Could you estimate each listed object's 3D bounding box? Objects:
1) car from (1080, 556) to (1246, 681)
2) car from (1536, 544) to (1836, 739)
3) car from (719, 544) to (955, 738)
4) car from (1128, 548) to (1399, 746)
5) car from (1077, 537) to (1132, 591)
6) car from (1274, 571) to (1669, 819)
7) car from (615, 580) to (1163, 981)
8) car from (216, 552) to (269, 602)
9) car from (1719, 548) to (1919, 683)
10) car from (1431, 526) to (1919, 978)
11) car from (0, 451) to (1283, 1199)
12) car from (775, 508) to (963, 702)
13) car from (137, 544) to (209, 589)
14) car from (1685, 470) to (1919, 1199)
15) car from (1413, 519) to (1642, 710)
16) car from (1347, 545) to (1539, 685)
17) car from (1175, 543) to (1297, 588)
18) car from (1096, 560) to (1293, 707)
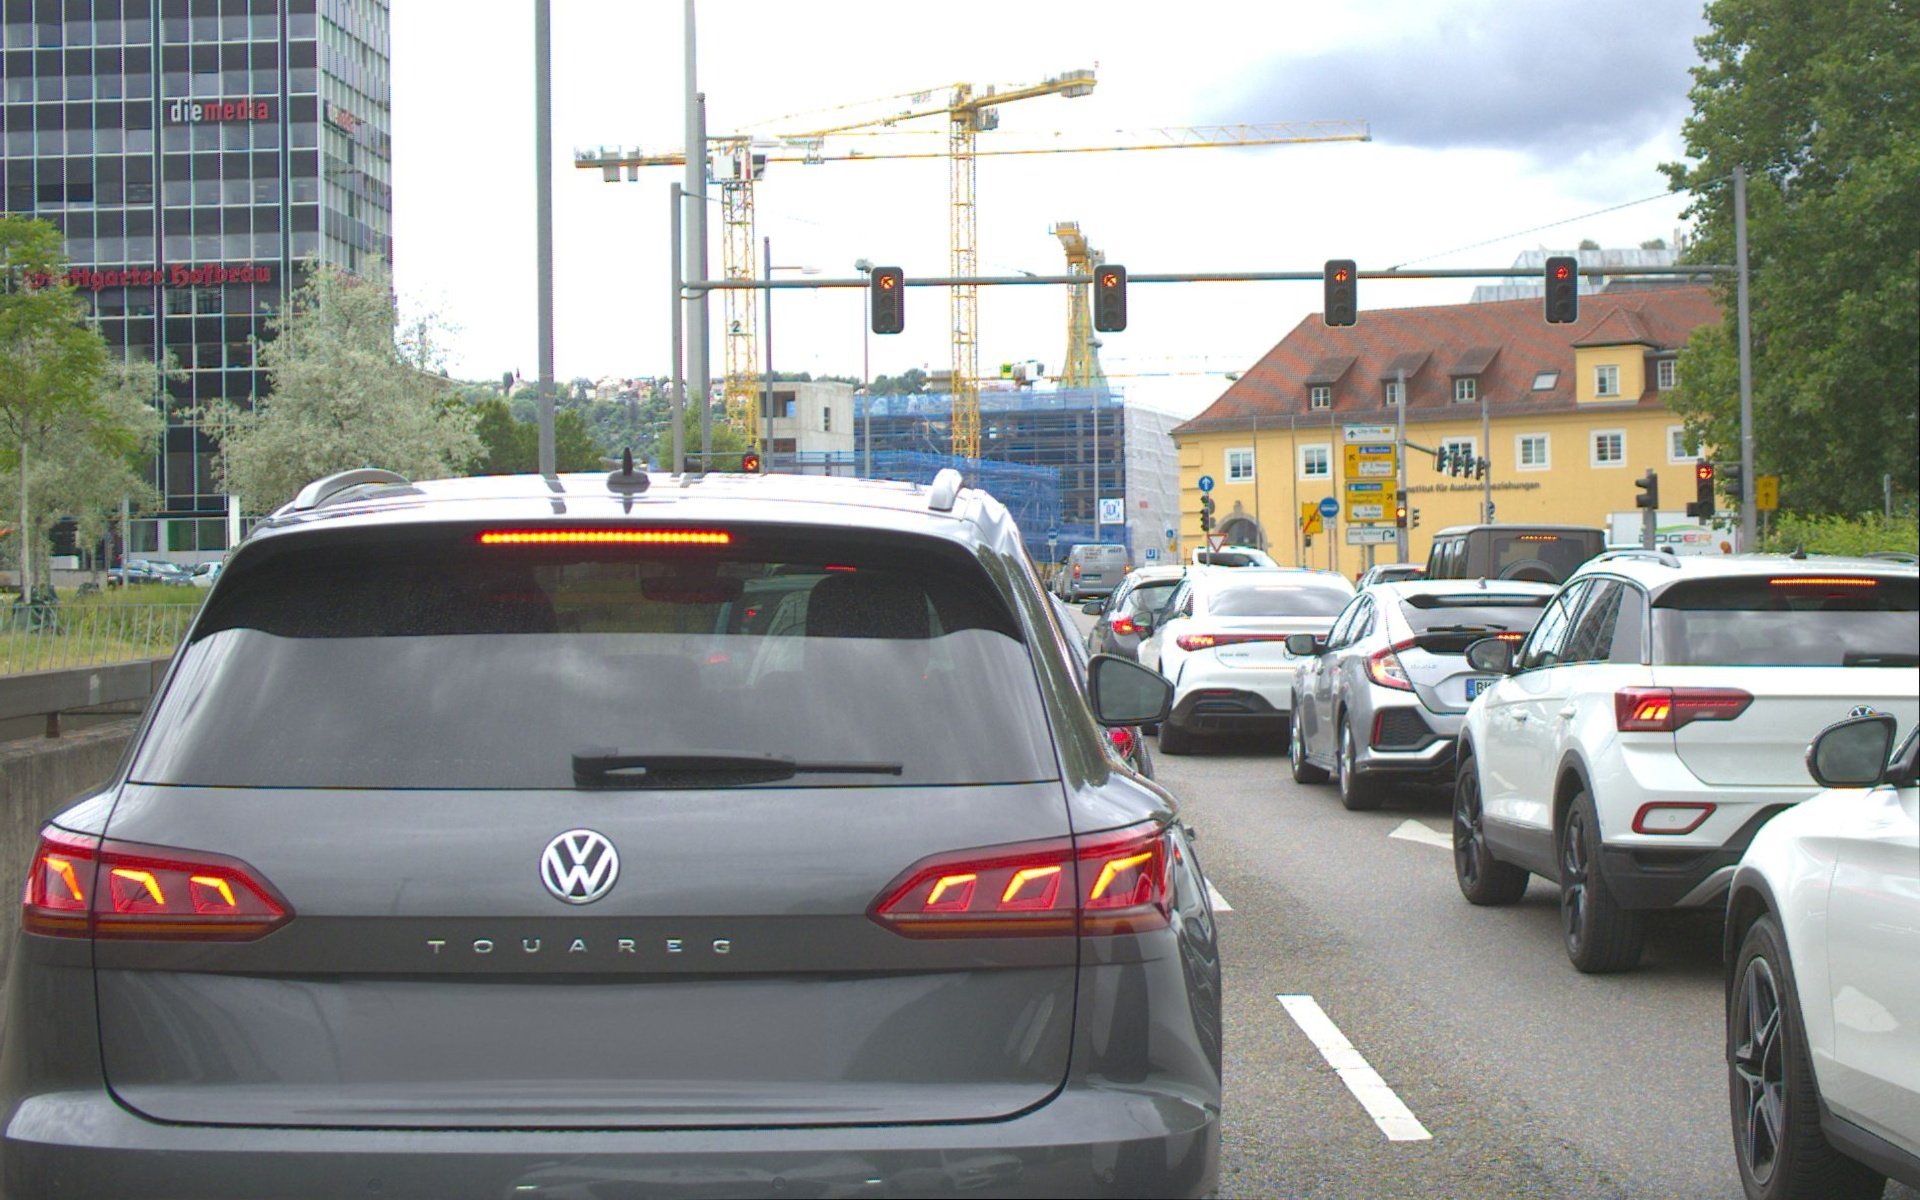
[{"bbox_3d":[2.556,0.223,44.043,1.926,1.524,4.047,0,0,1],"label":"car"},{"bbox_3d":[6.538,0.319,31.421,1.994,1.634,4.304,0,1,2],"label":"car"},{"bbox_3d":[-1.067,0.325,31.038,1.951,1.594,3.931,1,1,-1],"label":"car"},{"bbox_3d":[2.468,0.358,28.934,1.926,1.524,4.489,0,0,1],"label":"car"},{"bbox_3d":[4.663,-1.140,111.462,1.619,1.622,4.000,1,-1,0],"label":"car"},{"bbox_3d":[3.177,0.550,22.210,1.926,1.427,4.489,0,0,1],"label":"car"},{"bbox_3d":[-0.286,0.644,14.410,1.951,1.379,3.931,1,1,-1],"label":"car"},{"bbox_3d":[-31.170,-1.012,149.473,1.993,2.006,4.693,-1,2,-9],"label":"car"},{"bbox_3d":[10.160,0.189,40.103,1.932,1.455,4.526,1,0,5],"label":"car"},{"bbox_3d":[3.172,0.521,14.040,1.926,1.545,4.489,0,0,1],"label":"car"},{"bbox_3d":[-0.568,0.599,6.672,1.951,1.646,4.000,0,1,-1],"label":"car"},{"bbox_3d":[-0.997,0.030,38.570,1.951,2.011,3.931,1,1,-1],"label":"car"},{"bbox_3d":[-37.433,-1.592,163.484,1.993,2.006,4.692,-1,2,-31],"label":"car"},{"bbox_3d":[2.714,0.585,6.166,1.926,1.648,4.490,0,1,1],"label":"car"},{"bbox_3d":[6.394,0.151,39.123,1.910,2.007,4.012,1,0,0],"label":"car"},{"bbox_3d":[6.229,0.184,44.703,1.910,1.691,4.012,1,0,0],"label":"car"},{"bbox_3d":[10.301,-1.283,128.505,4.222,1.598,1.749,1,0,36],"label":"car"},{"bbox_3d":[2.513,0.344,37.756,1.926,1.524,4.047,0,0,1],"label":"car"}]
